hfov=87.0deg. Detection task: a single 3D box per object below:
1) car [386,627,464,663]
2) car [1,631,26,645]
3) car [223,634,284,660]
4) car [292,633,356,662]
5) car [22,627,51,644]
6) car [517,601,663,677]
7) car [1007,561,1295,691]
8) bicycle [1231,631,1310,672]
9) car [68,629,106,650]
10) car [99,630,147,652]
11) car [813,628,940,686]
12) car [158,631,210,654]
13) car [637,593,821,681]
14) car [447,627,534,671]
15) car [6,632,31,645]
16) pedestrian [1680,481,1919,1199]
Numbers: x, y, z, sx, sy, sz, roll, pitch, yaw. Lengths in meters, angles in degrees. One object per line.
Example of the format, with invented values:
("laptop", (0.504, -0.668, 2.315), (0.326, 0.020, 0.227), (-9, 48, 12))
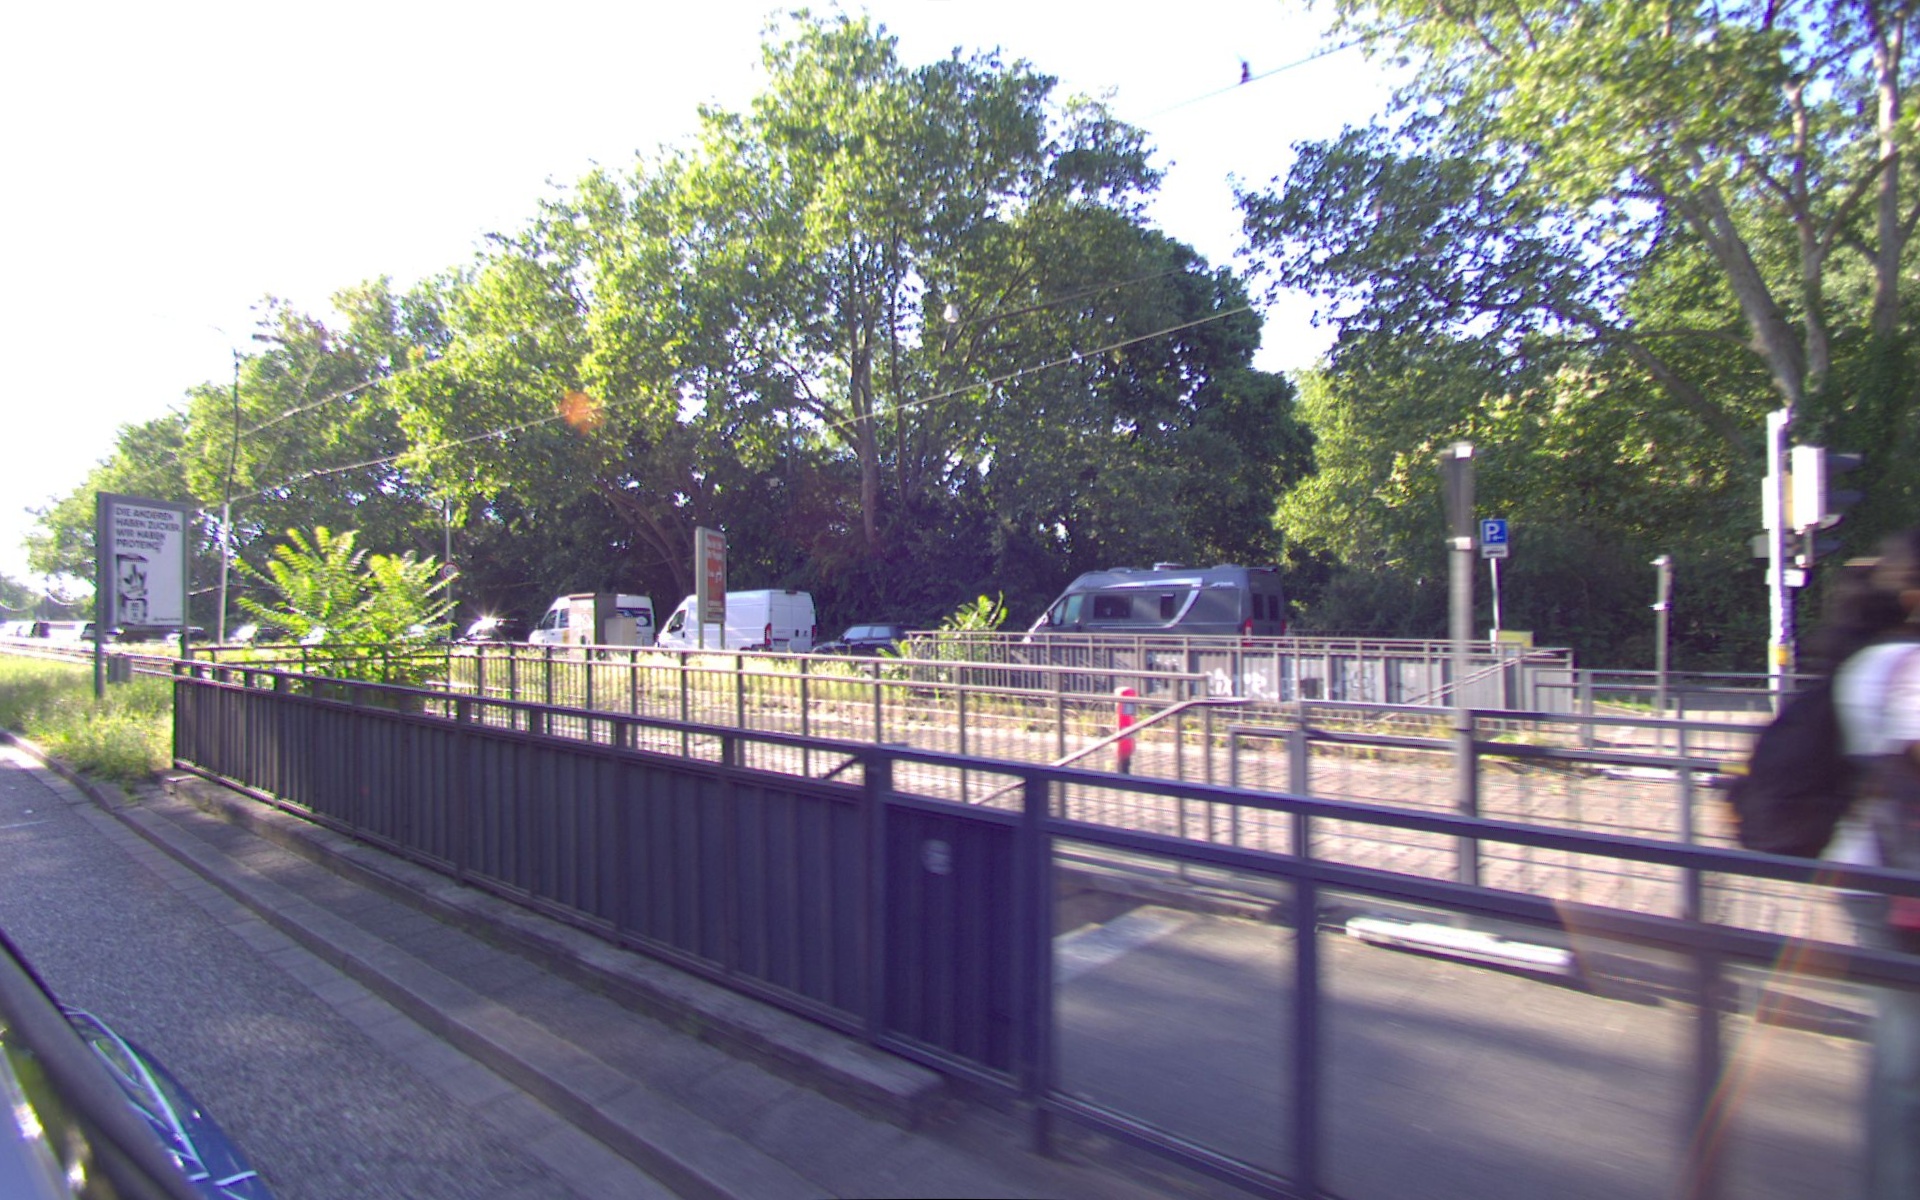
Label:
("car", (-24.236, 2.027, 45.810), (3.878, 1.567, 1.722), (-1, -3, 39))
("car", (-112.654, 4.522, 120.429), (3.921, 1.511, 1.638), (-1, -3, 39))
("car", (-41.952, 2.797, 60.102), (4.319, 1.448, 1.809), (-1, -3, 39))
("car", (-33.682, 2.519, 53.567), (3.848, 1.448, 1.722), (-1, -3, 39))
("car", (-100.124, 3.849, 109.737), (3.896, 1.753, 1.713), (-1, -3, 39))
("car", (-13.606, 1.407, 36.985), (6.043, 2.540, 2.162), (-1, -3, 39))
("car", (4.104, 0.599, 22.511), (6.026, 2.540, 2.162), (-1, -3, 39))
("bicycle", (7.942, 1.306, 25.963), (1.863, 1.037, 0.575), (-2, -2, 43))
("car", (-78.782, 3.567, 91.339), (4.390, 1.855, 1.809), (-1, -3, 39))
("car", (-66.829, 3.261, 80.803), (4.384, 1.732, 1.811), (-1, -3, 35))
("car", (-2.331, 1.549, 28.102), (3.261, 1.524, 1.636), (-1, -3, 38))
("car", (-52.668, 2.864, 68.664), (4.390, 1.517, 1.809), (-1, -3, 39))
("car", (-7.416, 1.161, 32.110), (6.262, 2.540, 2.163), (-1, -3, 38))
("car", (-19.578, 2.012, 42.132), (3.878, 1.741, 1.722), (-1, -3, 39))
("car", (-108.658, 4.438, 116.788), (3.782, 1.453, 1.637), (-1, -3, 40))
("pedestrian", (2.003, 0.577, 2.176), (0.512, 1.580, 0.509), (2, -3, -19))
